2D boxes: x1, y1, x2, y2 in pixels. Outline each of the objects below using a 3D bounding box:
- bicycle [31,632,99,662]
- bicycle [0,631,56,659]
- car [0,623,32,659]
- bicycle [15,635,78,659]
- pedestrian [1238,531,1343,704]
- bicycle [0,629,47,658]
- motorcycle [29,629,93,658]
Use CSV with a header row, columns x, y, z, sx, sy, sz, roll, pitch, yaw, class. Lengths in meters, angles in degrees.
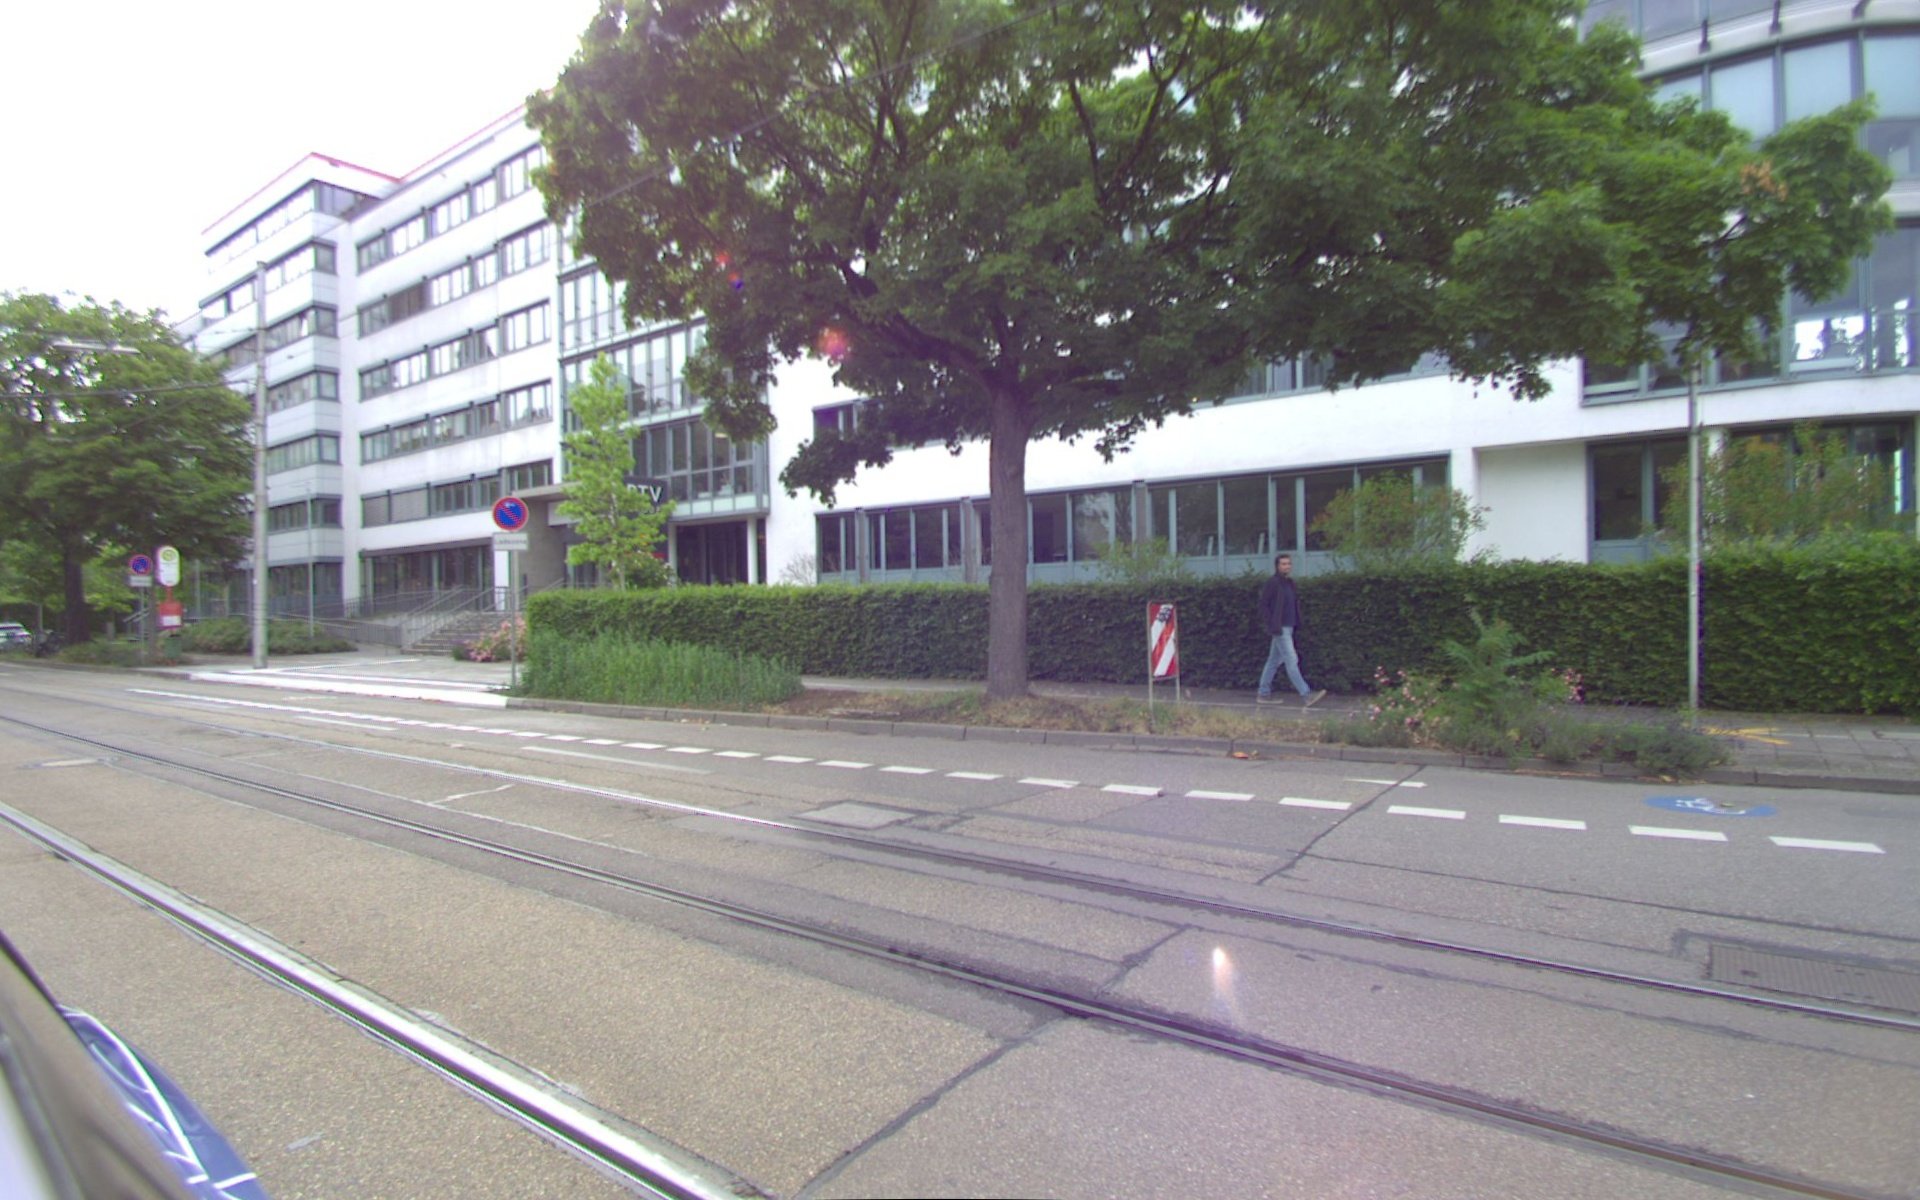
x,y,z,sx,sy,sz,roll,pitch,yaw,class
-34.409,1.789,38.934,0.738,1.061,1.816,-2,0,29,bicycle
-39.399,1.888,42.666,0.630,1.108,1.792,0,-1,31,bicycle
-43.044,1.835,44.958,4.746,1.504,1.864,-2,1,38,car
-37.360,1.921,41.400,0.630,0.906,1.792,0,-1,31,bicycle
4.061,0.200,12.446,0.991,2.028,0.702,-1,1,44,pedestrian
-40.362,1.859,43.317,0.632,1.195,1.845,-1,-1,42,bicycle
-35.947,1.744,40.490,0.730,1.058,1.775,-1,1,30,motorcycle
